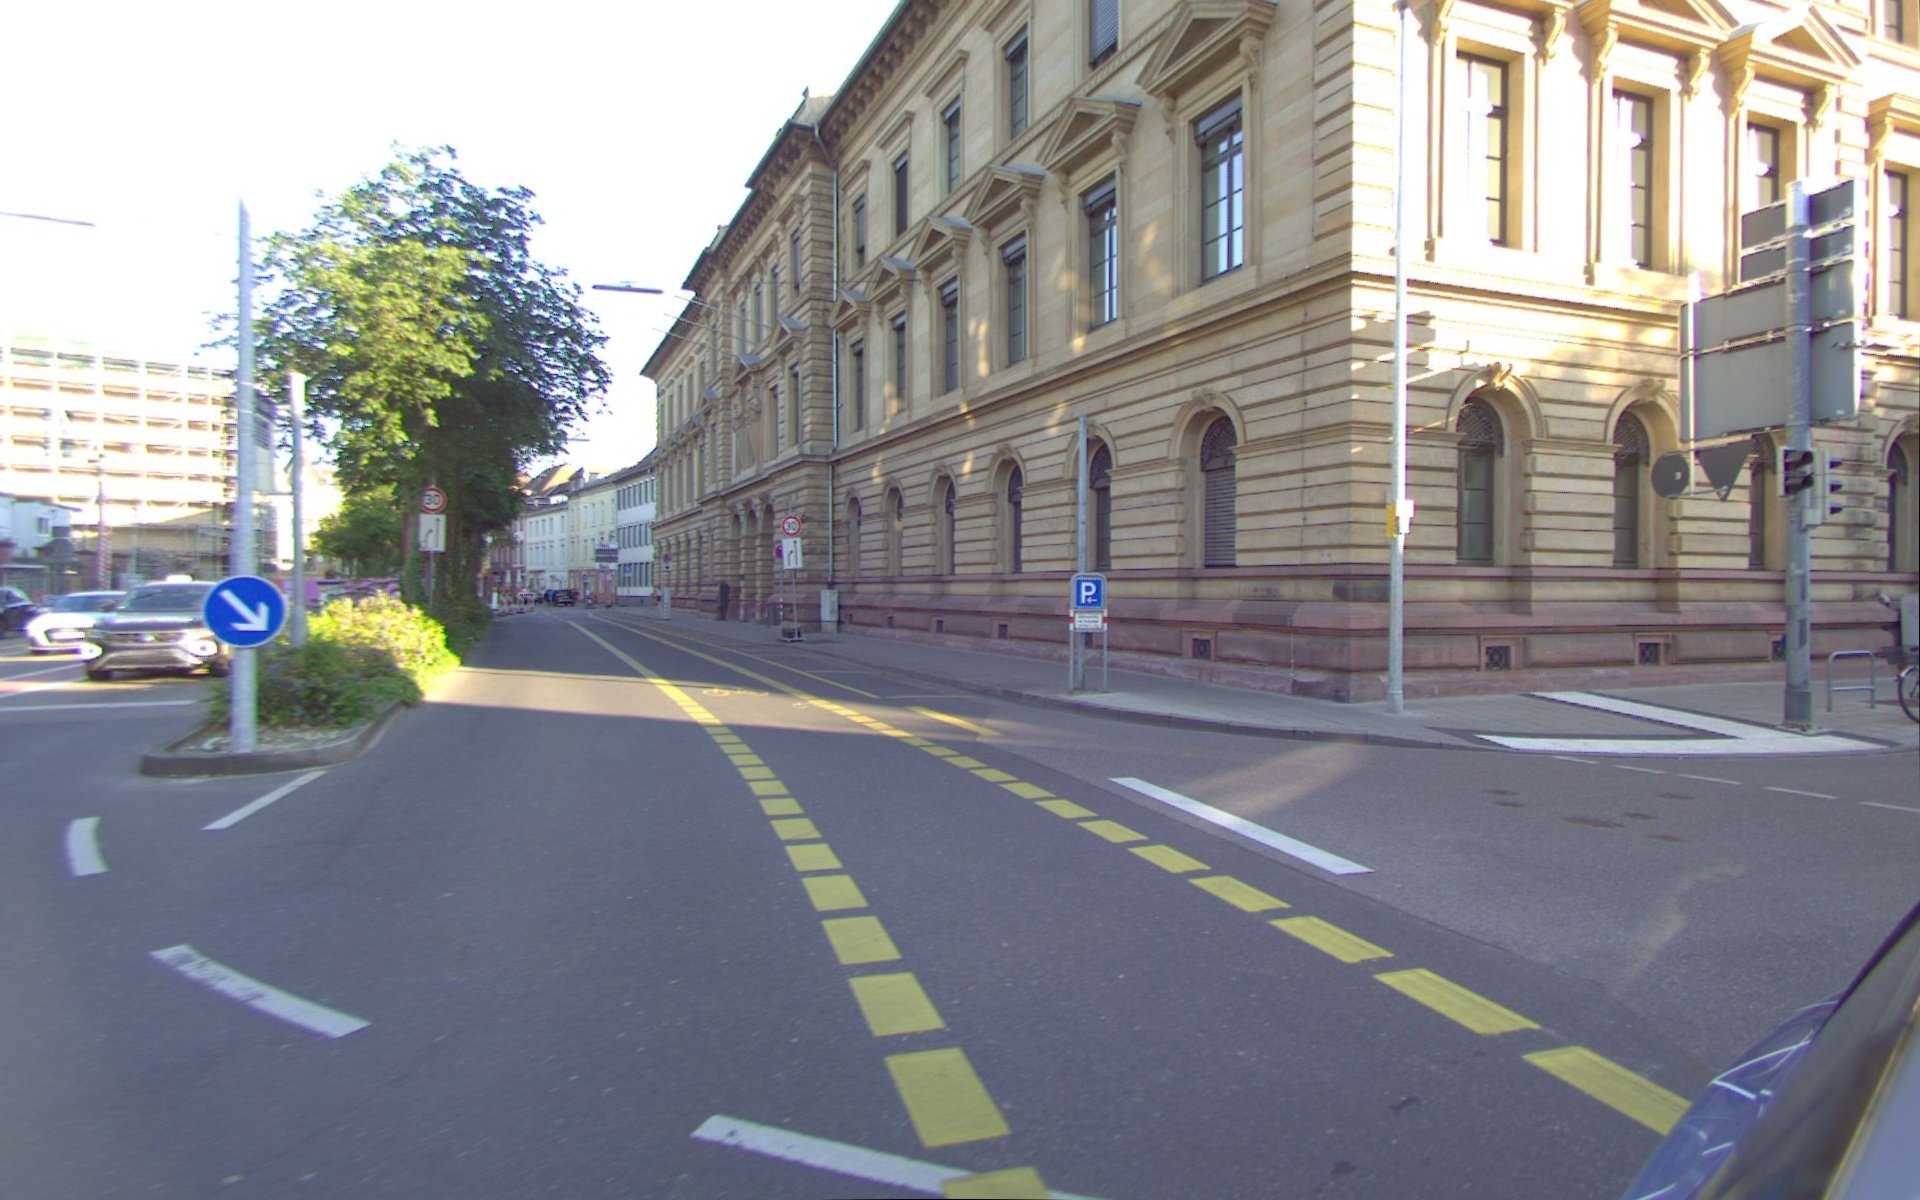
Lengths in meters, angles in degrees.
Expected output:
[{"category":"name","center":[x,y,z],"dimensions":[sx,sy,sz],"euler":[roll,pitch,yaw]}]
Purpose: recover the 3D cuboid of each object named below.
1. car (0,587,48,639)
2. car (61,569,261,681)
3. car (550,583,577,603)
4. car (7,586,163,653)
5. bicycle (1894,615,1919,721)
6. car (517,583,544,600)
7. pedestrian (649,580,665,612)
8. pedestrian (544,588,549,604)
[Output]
[{"category":"car","center":[-29.716,0.372,30.804],"dimensions":[1.797,1.510,4.083],"euler":[-1,1,-26]},{"category":"car","center":[-13.269,0.329,17.093],"dimensions":[1.797,1.632,4.083],"euler":[-1,1,-26]},{"category":"car","center":[-37.548,-0.711,95.801],"dimensions":[1.684,1.871,3.827],"euler":[0,1,-33]},{"category":"car","center":[-20.529,0.386,23.942],"dimensions":[1.797,1.408,4.028],"euler":[-1,1,-26]},{"category":"bicycle","center":[12.037,0.772,11.996],"dimensions":[1.880,1.203,0.585],"euler":[-2,1,-19]},{"category":"car","center":[-45.005,-0.913,106.010],"dimensions":[1.686,1.680,3.824],"euler":[0,1,-36]},{"category":"pedestrian","center":[-17.667,-0.242,58.995],"dimensions":[0.759,1.876,0.813],"euler":[0,0,-25]},{"category":"pedestrian","center":[-38.672,-0.398,94.661],"dimensions":[0.358,1.510,0.331],"euler":[0,0,-33]}]
